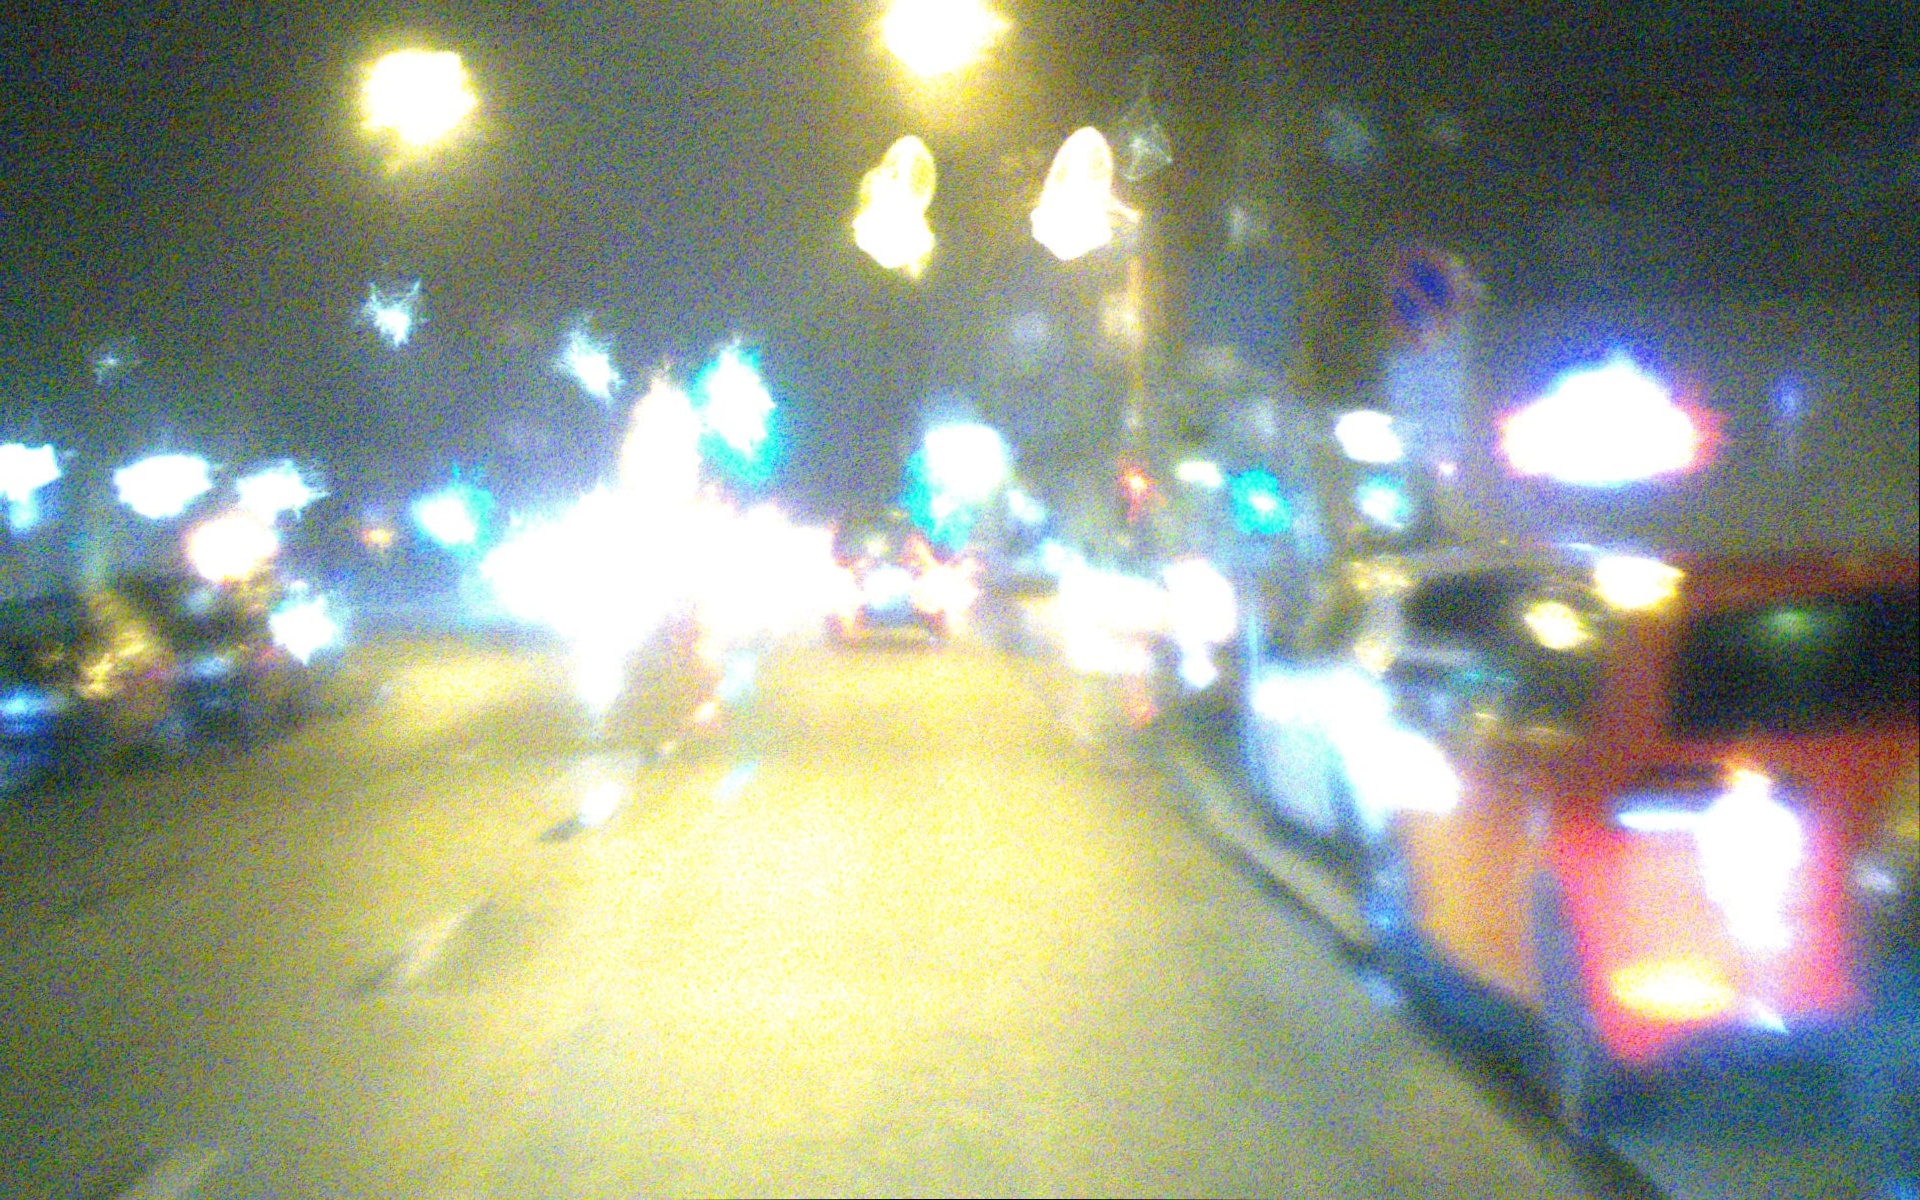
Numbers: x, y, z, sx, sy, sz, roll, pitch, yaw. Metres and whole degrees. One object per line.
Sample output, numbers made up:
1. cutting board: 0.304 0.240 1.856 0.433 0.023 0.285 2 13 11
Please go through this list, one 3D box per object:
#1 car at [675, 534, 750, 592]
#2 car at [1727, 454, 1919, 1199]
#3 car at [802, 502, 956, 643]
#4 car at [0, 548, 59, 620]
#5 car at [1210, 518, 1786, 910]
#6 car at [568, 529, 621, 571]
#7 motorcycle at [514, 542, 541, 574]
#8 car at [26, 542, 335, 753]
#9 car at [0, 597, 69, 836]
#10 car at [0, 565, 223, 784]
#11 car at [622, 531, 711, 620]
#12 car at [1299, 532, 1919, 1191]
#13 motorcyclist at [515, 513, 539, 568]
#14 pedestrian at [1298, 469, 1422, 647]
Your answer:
1. car: -6.975 -1.042 96.489 1.817 1.537 4.727 -2 1 -7
2. car: 2.521 0.556 4.542 1.822 1.632 4.489 -3 1 -2
3. car: -1.238 -0.451 52.604 2.168 1.965 4.302 -3 1 -1
4. car: -20.100 -0.294 69.589 1.715 1.427 3.915 -1 1 18
5. car: 2.391 0.423 16.537 1.822 1.525 4.783 -3 1 -2
6. car: -14.122 -1.963 132.673 1.852 1.494 4.771 -2 2 -7
7. motorcycle: -16.299 -1.592 129.582 0.701 1.134 2.176 -2 2 0
8. car: -6.633 0.346 29.691 1.598 1.558 4.380 -4 1 -1
9. car: -6.445 0.764 19.624 1.598 1.368 4.067 -4 1 -1
10. car: -6.641 0.509 24.923 1.598 1.368 4.354 -4 1 -1
11. car: -7.308 -0.646 85.785 2.034 1.946 5.201 -4 2 -5
12. car: 2.222 0.550 10.075 1.822 1.417 4.489 -3 1 -2
13. motorcyclist: -16.310 -2.246 129.472 0.693 2.006 0.983 -2 1 0
14. pedestrian: 3.610 -0.385 31.101 1.050 1.570 1.018 -1 1 4
